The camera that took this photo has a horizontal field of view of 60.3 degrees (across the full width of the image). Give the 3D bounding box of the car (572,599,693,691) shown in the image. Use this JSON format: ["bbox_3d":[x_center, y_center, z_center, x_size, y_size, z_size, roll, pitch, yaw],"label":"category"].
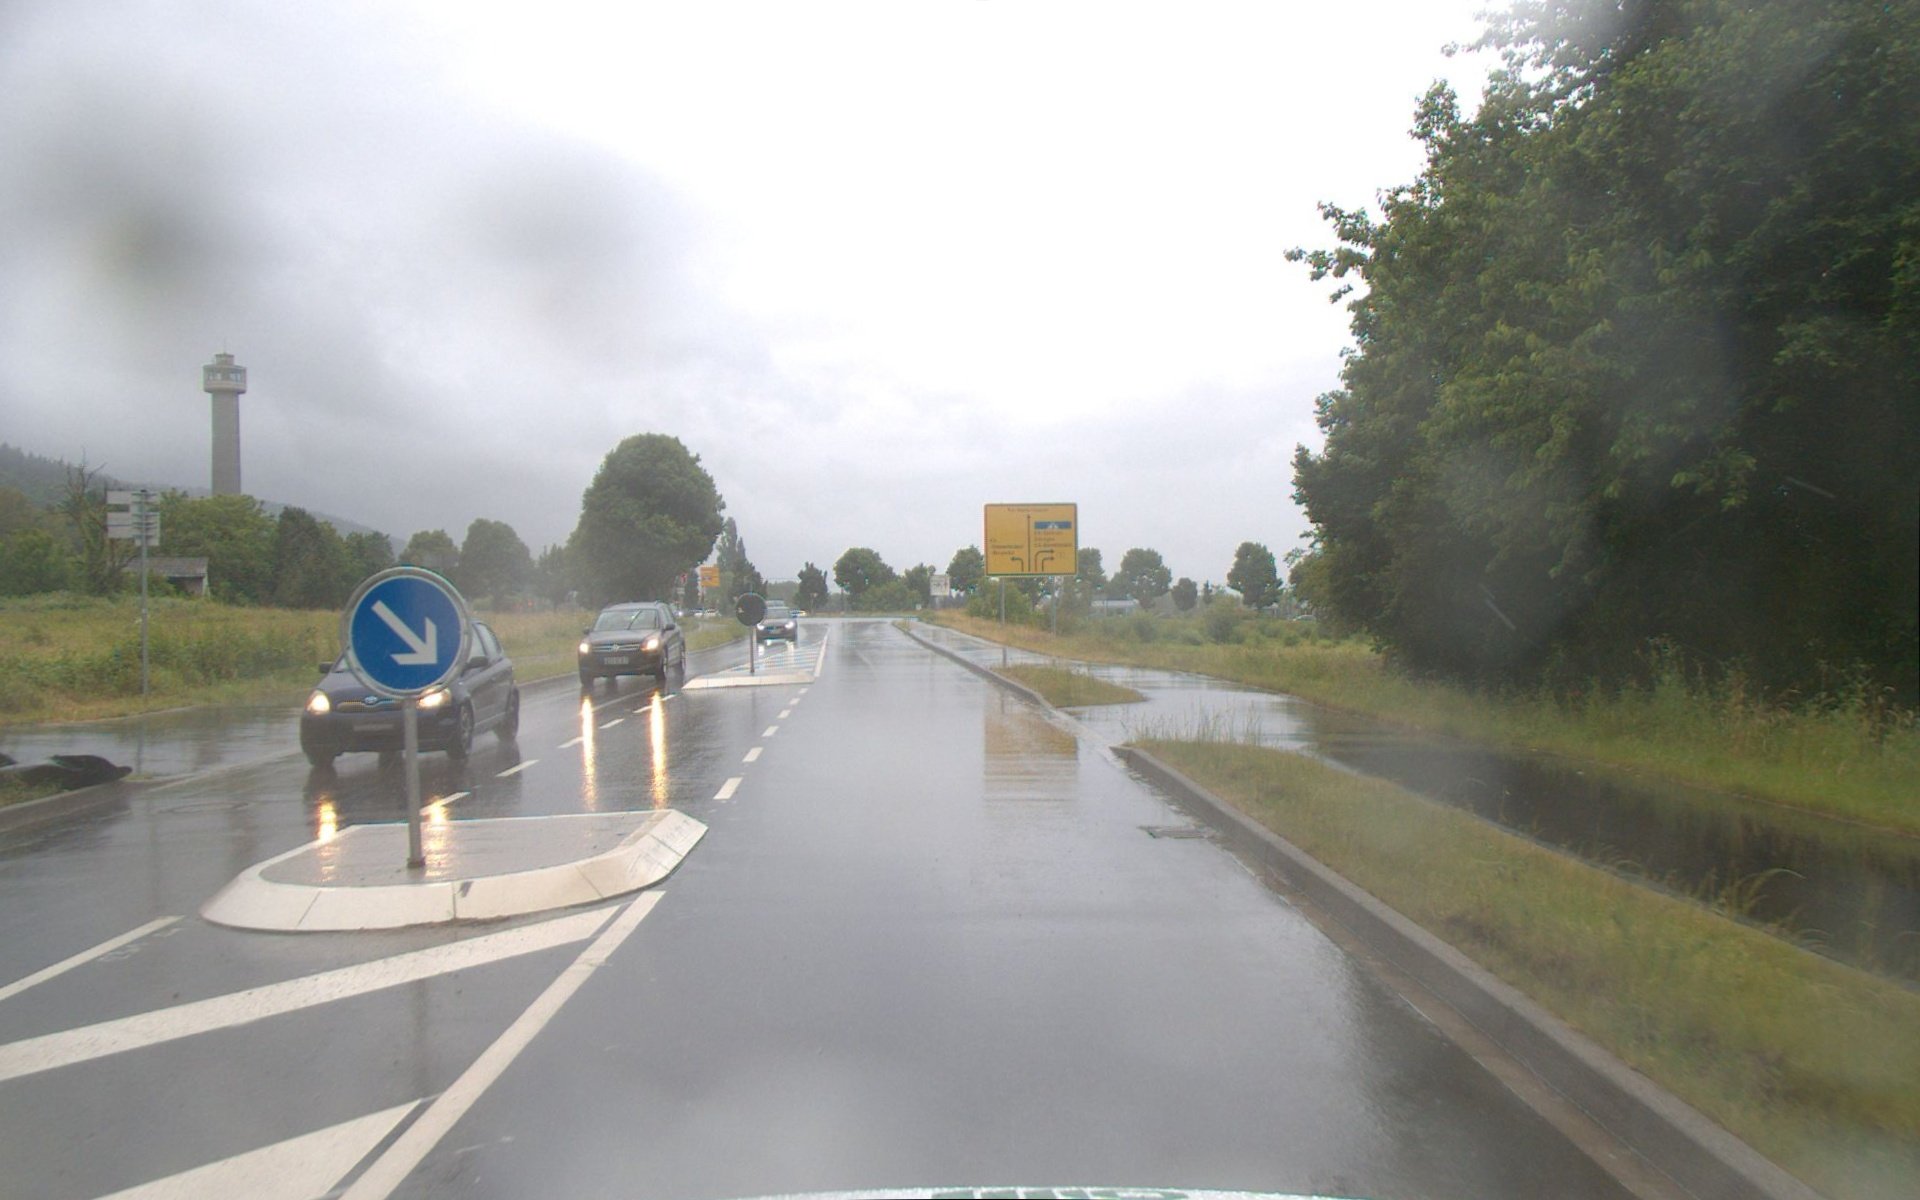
[{"bbox_3d":[-6.946,0.899,35.499,1.706,1.748,4.266,-3,0,-1],"label":"car"}]

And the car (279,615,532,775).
[{"bbox_3d":[-6.014,0.964,18.384,1.707,1.470,3.679,-3,0,-4],"label":"car"}]

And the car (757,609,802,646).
[{"bbox_3d":[-7.873,1.183,72.383,1.663,1.426,3.765,-3,0,-2],"label":"car"}]
